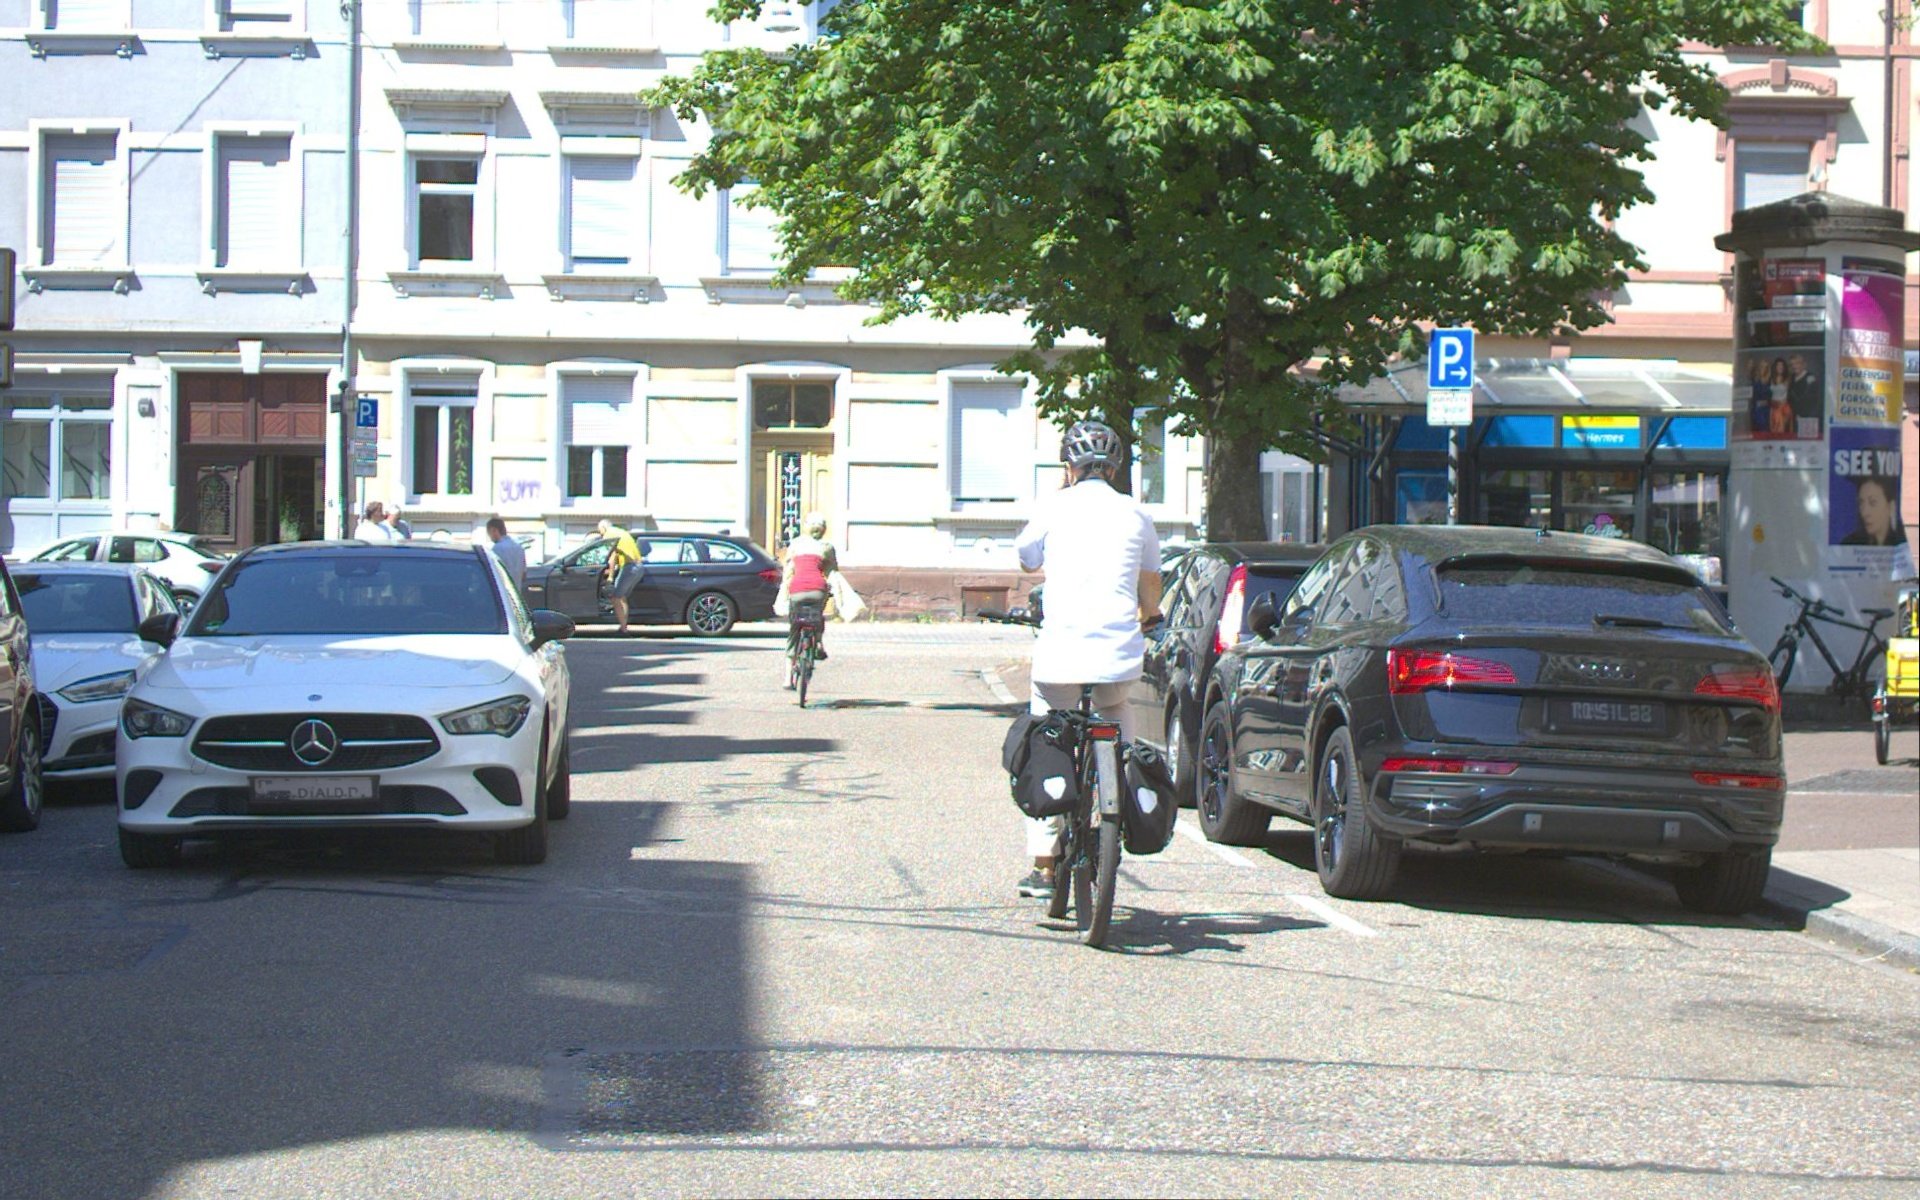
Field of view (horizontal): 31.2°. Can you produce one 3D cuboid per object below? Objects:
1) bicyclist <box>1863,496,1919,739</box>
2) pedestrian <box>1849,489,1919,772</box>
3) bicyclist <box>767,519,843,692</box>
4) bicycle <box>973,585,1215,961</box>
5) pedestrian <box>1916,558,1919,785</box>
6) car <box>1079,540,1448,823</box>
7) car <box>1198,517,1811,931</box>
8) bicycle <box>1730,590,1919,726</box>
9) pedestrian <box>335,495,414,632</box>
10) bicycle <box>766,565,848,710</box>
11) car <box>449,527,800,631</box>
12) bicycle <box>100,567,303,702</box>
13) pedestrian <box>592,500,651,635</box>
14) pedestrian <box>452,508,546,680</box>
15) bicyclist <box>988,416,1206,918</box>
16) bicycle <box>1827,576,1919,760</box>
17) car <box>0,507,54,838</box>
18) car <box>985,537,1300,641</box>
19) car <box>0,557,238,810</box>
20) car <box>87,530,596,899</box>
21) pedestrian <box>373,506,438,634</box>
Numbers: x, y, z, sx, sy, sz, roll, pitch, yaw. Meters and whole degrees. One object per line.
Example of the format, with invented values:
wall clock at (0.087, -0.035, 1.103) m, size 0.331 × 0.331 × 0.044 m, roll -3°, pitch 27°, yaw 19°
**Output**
bicyclist at (6.570, 0.114, 23.463) m, size 0.678 × 1.642 × 0.661 m, roll 1°, pitch 1°, yaw 25°
pedestrian at (5.985, 0.184, 21.568) m, size 0.638 × 1.746 × 0.614 m, roll 0°, pitch 1°, yaw 0°
bicyclist at (-1.381, 0.047, 30.677) m, size 0.670 × 1.528 × 0.609 m, roll 0°, pitch 1°, yaw -2°
bicycle at (0.457, 0.580, 12.850) m, size 0.651 × 1.224 × 2.442 m, roll 2°, pitch 1°, yaw -3°
pedestrian at (5.991, 0.157, 20.275) m, size 0.519 × 1.862 × 0.652 m, roll 1°, pitch 1°, yaw 28°
car at (1.806, 0.431, 21.699) m, size 1.663 × 1.535 × 4.178 m, roll 3°, pitch 1°, yaw -3°
car at (2.345, 0.464, 15.992) m, size 1.735 × 1.591 × 4.349 m, roll 3°, pitch 1°, yaw -5°
bicycle at (6.981, 0.442, 26.589) m, size 1.900 × 1.035 × 0.634 m, roll 0°, pitch 1°, yaw -3°
pedestrian at (-8.174, -0.513, 47.997) m, size 0.850 × 1.882 × 0.935 m, roll 0°, pitch 1°, yaw 7°
bicycle at (-1.361, 0.311, 30.730) m, size 0.651 × 1.205 × 2.442 m, roll 2°, pitch 1°, yaw -2°
car at (-4.710, -0.307, 48.728) m, size 4.858 × 1.432 × 2.000 m, roll 0°, pitch 1°, yaw -3°
bicycle at (-6.111, 0.279, 27.739) m, size 1.524 × 1.004 × 0.367 m, roll 3°, pitch 0°, yaw -7°
pedestrian at (-4.675, -0.449, 47.506) m, size 0.724 × 1.847 × 0.685 m, roll 0°, pitch 1°, yaw -13°
pedestrian at (-4.531, -0.061, 33.831) m, size 0.857 × 1.666 × 0.774 m, roll 0°, pitch 1°, yaw -3°
bicyclist at (0.488, 0.236, 12.493) m, size 0.670 × 1.754 × 0.609 m, roll 3°, pitch 1°, yaw -2°
bicycle at (6.503, 0.427, 23.364) m, size 0.795 × 1.165 × 2.575 m, roll 1°, pitch 1°, yaw 23°
car at (-5.363, 0.372, 15.706) m, size 1.672 × 1.577 × 4.053 m, roll -1°, pitch 1°, yaw -5°
car at (2.565, -0.173, 48.980) m, size 4.293 × 1.365 × 1.807 m, roll 0°, pitch 3°, yaw -3°
car at (-5.521, 0.438, 20.929) m, size 1.701 × 1.348 × 4.516 m, roll -1°, pitch 1°, yaw -6°
car at (-2.751, 0.432, 16.222) m, size 1.841 × 1.456 × 4.363 m, roll -1°, pitch 1°, yaw -4°
pedestrian at (-7.891, -0.427, 48.947) m, size 0.901 × 1.808 × 0.960 m, roll 0°, pitch 1°, yaw -8°
